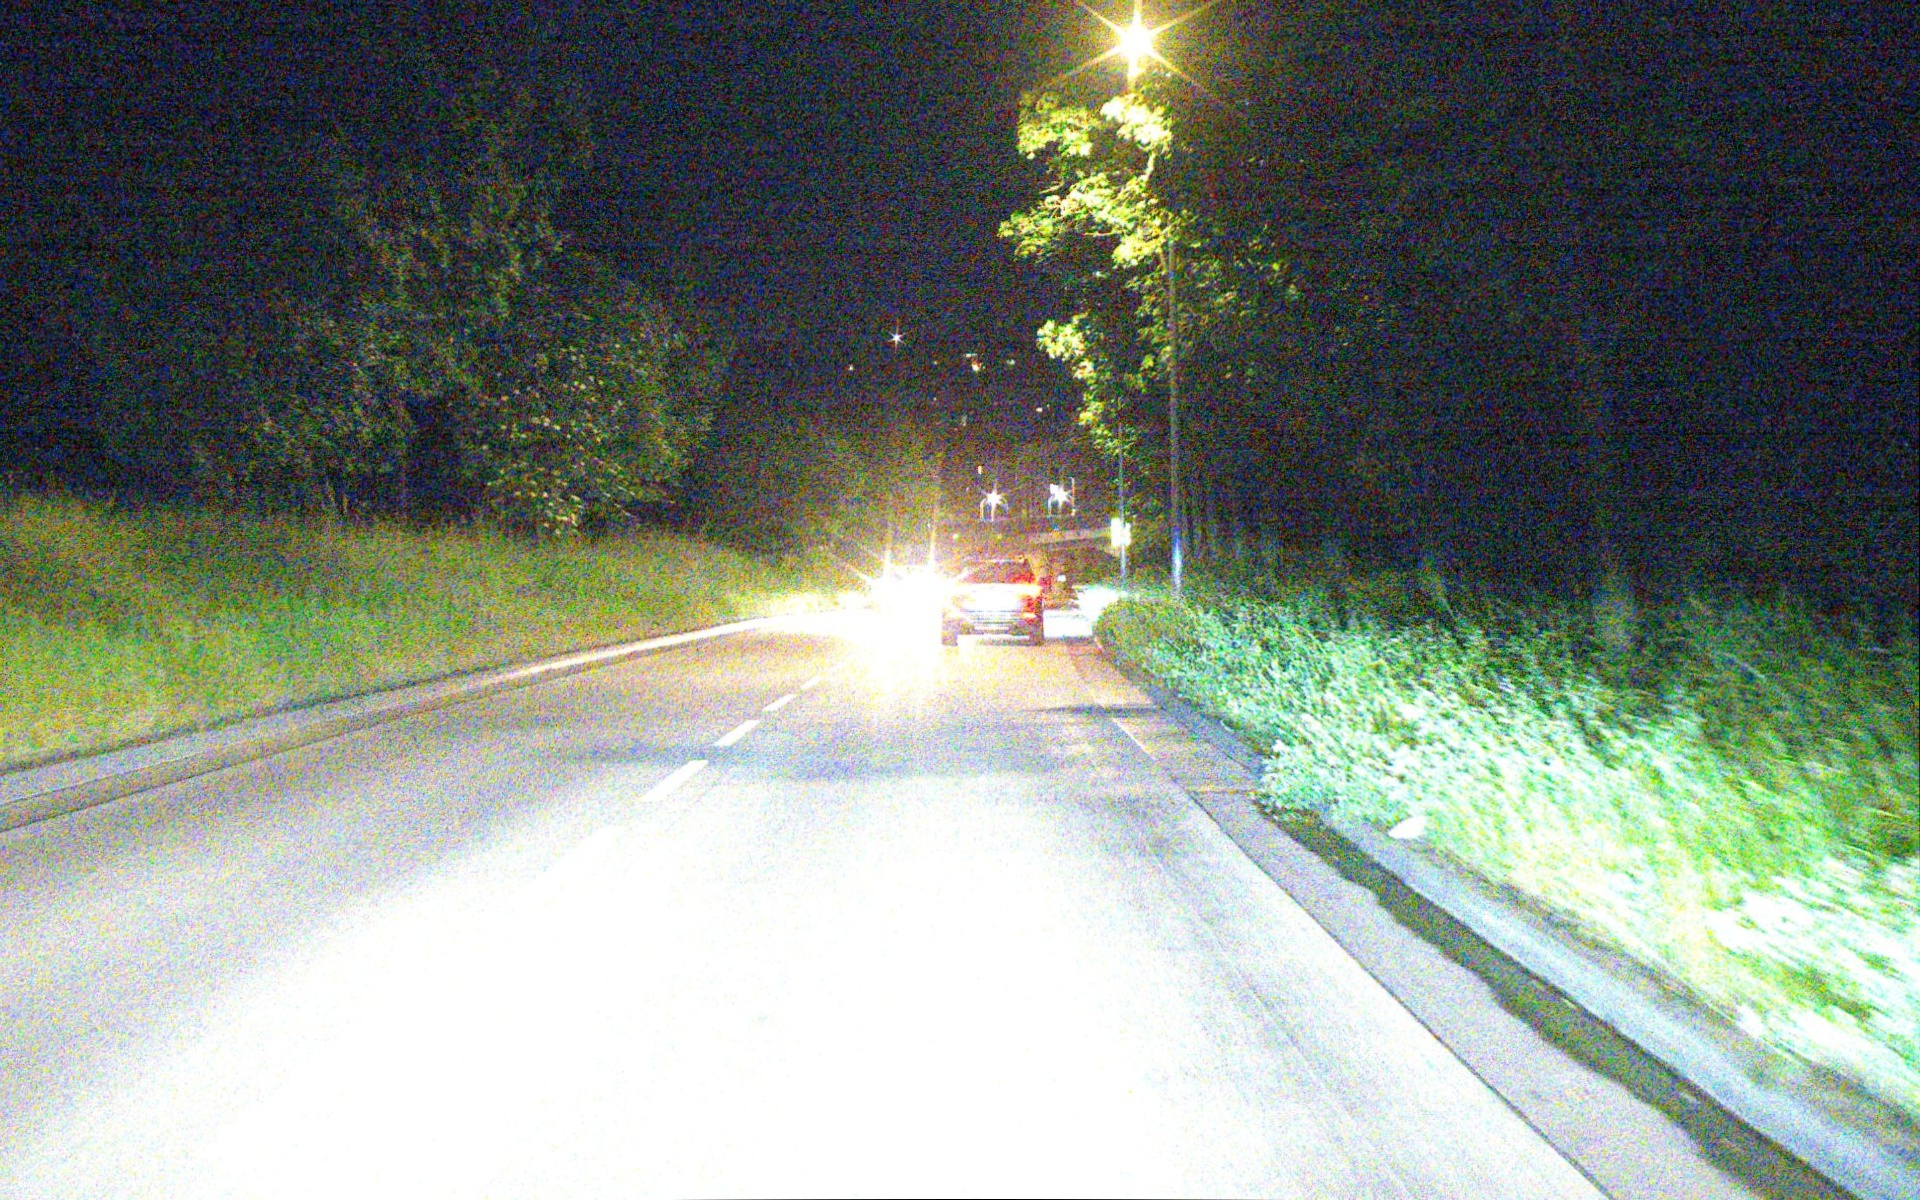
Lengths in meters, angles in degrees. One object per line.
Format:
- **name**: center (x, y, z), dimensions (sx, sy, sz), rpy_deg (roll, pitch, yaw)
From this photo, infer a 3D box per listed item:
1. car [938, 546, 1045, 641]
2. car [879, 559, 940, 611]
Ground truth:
- **car**: center (0.535, -0.122, 61.013), dimensions (1.763, 1.636, 3.723), rpy_deg (0, 0, -2)
- **car**: center (-1.436, -0.429, 98.798), dimensions (1.687, 1.452, 4.000), rpy_deg (0, 0, 0)
